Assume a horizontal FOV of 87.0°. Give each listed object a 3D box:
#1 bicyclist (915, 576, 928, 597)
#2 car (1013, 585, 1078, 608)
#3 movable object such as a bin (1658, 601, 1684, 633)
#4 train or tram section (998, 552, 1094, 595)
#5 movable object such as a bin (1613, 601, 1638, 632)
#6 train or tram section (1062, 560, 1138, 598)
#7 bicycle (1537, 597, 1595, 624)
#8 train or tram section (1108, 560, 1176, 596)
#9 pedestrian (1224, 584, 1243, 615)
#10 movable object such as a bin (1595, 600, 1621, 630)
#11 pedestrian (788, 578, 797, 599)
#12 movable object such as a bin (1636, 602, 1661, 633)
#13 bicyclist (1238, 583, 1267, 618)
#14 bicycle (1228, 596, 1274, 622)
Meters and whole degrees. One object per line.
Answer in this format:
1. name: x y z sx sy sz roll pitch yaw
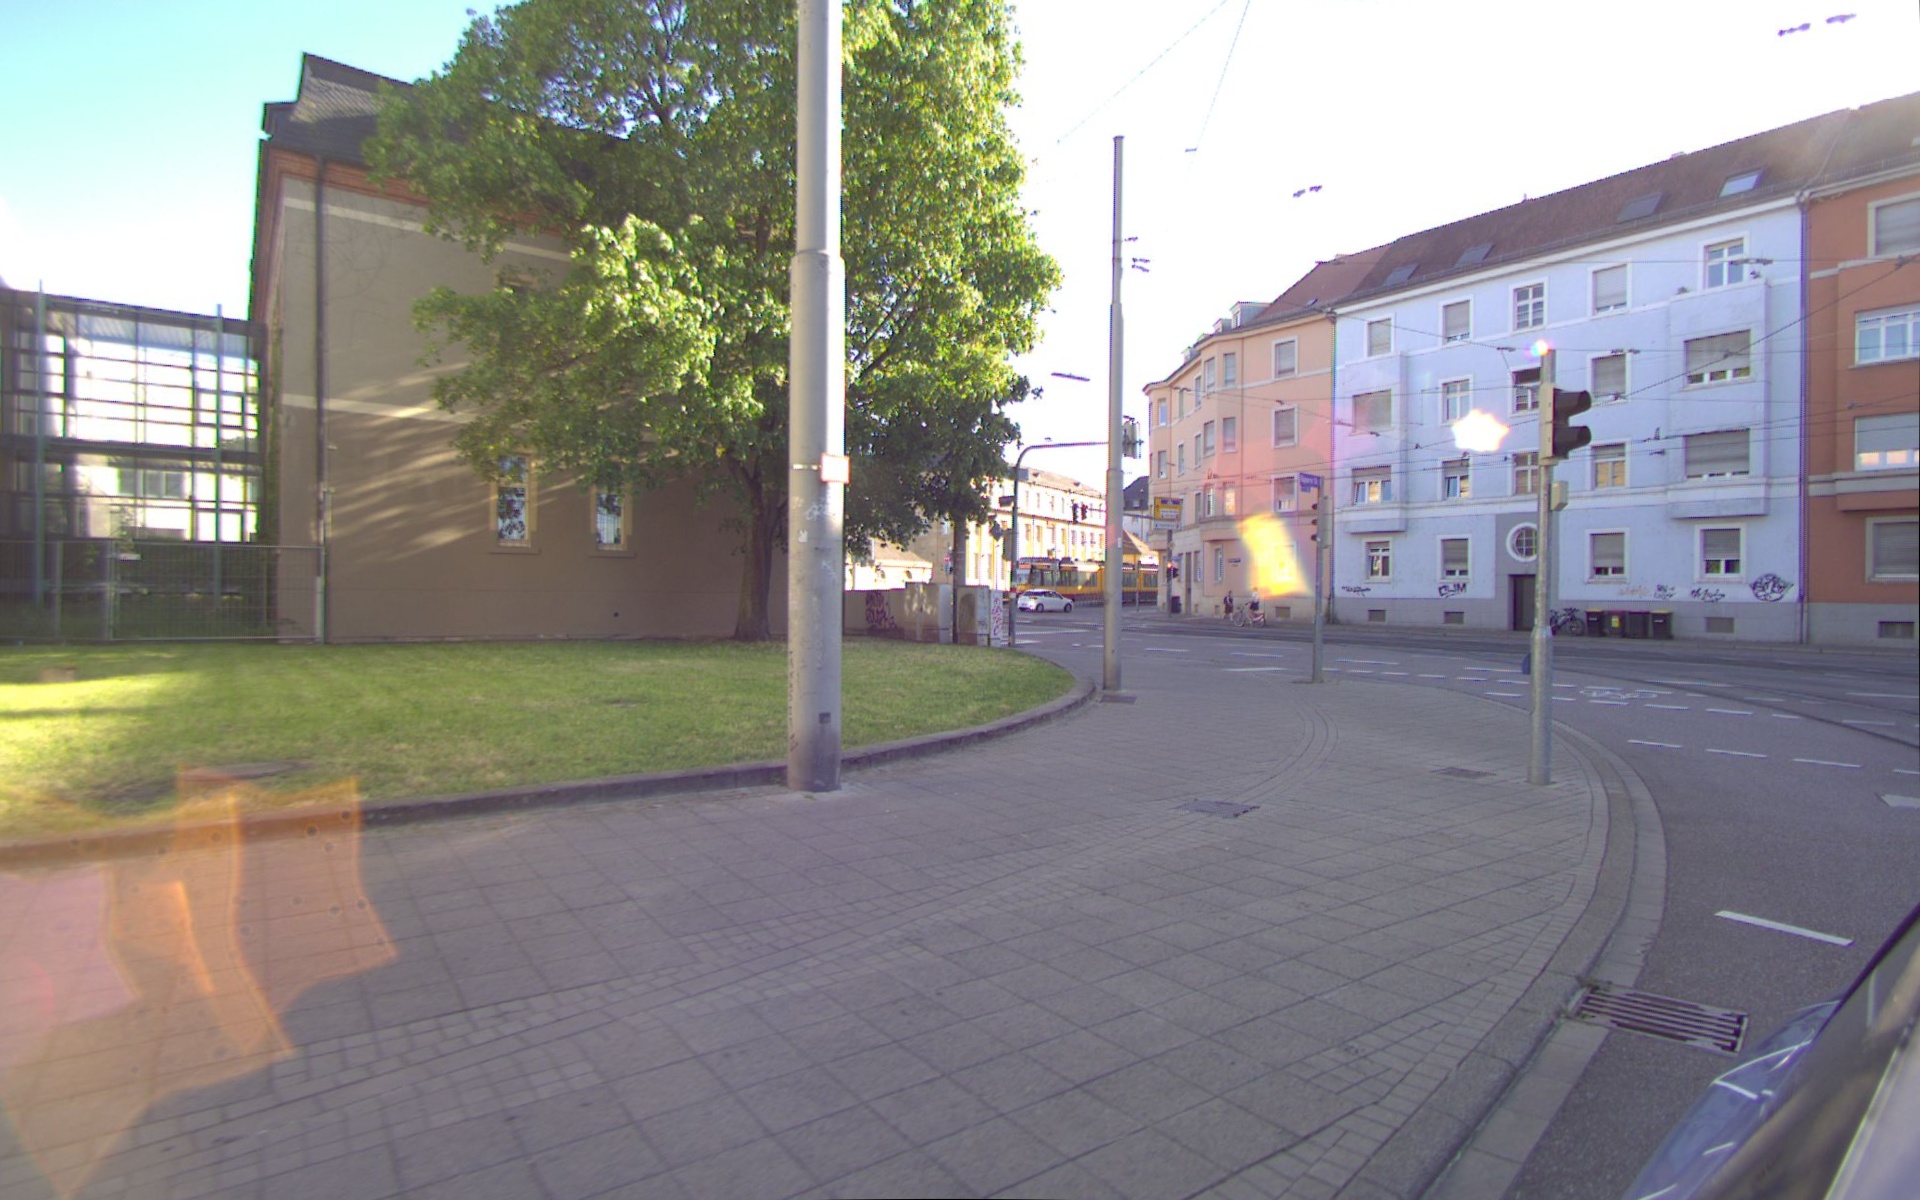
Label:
1. bicyclist: -3.179 -1.097 82.991 0.671 1.660 0.931 0 1 27
2. car: 5.523 -0.226 65.129 4.030 1.411 1.791 0 1 -37
3. movable object such as a bin: 25.818 0.613 36.755 0.691 1.120 0.582 0 1 -37
4. train or tram section: 7.388 -2.172 84.713 3.143 3.362 11.686 0 1 32
5. movable object such as a bin: 24.998 0.611 37.988 0.691 1.120 0.582 0 1 -37
6. train or tram section: 13.165 -1.997 94.193 3.141 3.398 10.563 0 2 32
7. bicycle: 23.745 0.383 39.688 0.596 0.992 1.876 -1 2 -36
8. train or tram section: 18.688 -2.301 103.245 3.141 3.398 10.730 0 2 32
9. pedestrian: 14.128 -0.013 52.308 0.664 1.583 0.720 0 0 -35
10. movable object such as a bin: 24.617 0.550 38.460 0.691 1.120 0.648 0 1 -37
11. pedestrian: -13.174 -0.932 79.466 0.614 1.660 0.514 0 0 6
12. movable object such as a bin: 25.419 0.626 37.353 0.691 1.120 0.582 0 1 -37
13. bicyclist: 14.153 0.004 48.950 0.735 1.663 1.125 0 0 -36
14. bicycle: 14.098 0.421 49.022 0.735 1.206 2.152 0 1 -36
